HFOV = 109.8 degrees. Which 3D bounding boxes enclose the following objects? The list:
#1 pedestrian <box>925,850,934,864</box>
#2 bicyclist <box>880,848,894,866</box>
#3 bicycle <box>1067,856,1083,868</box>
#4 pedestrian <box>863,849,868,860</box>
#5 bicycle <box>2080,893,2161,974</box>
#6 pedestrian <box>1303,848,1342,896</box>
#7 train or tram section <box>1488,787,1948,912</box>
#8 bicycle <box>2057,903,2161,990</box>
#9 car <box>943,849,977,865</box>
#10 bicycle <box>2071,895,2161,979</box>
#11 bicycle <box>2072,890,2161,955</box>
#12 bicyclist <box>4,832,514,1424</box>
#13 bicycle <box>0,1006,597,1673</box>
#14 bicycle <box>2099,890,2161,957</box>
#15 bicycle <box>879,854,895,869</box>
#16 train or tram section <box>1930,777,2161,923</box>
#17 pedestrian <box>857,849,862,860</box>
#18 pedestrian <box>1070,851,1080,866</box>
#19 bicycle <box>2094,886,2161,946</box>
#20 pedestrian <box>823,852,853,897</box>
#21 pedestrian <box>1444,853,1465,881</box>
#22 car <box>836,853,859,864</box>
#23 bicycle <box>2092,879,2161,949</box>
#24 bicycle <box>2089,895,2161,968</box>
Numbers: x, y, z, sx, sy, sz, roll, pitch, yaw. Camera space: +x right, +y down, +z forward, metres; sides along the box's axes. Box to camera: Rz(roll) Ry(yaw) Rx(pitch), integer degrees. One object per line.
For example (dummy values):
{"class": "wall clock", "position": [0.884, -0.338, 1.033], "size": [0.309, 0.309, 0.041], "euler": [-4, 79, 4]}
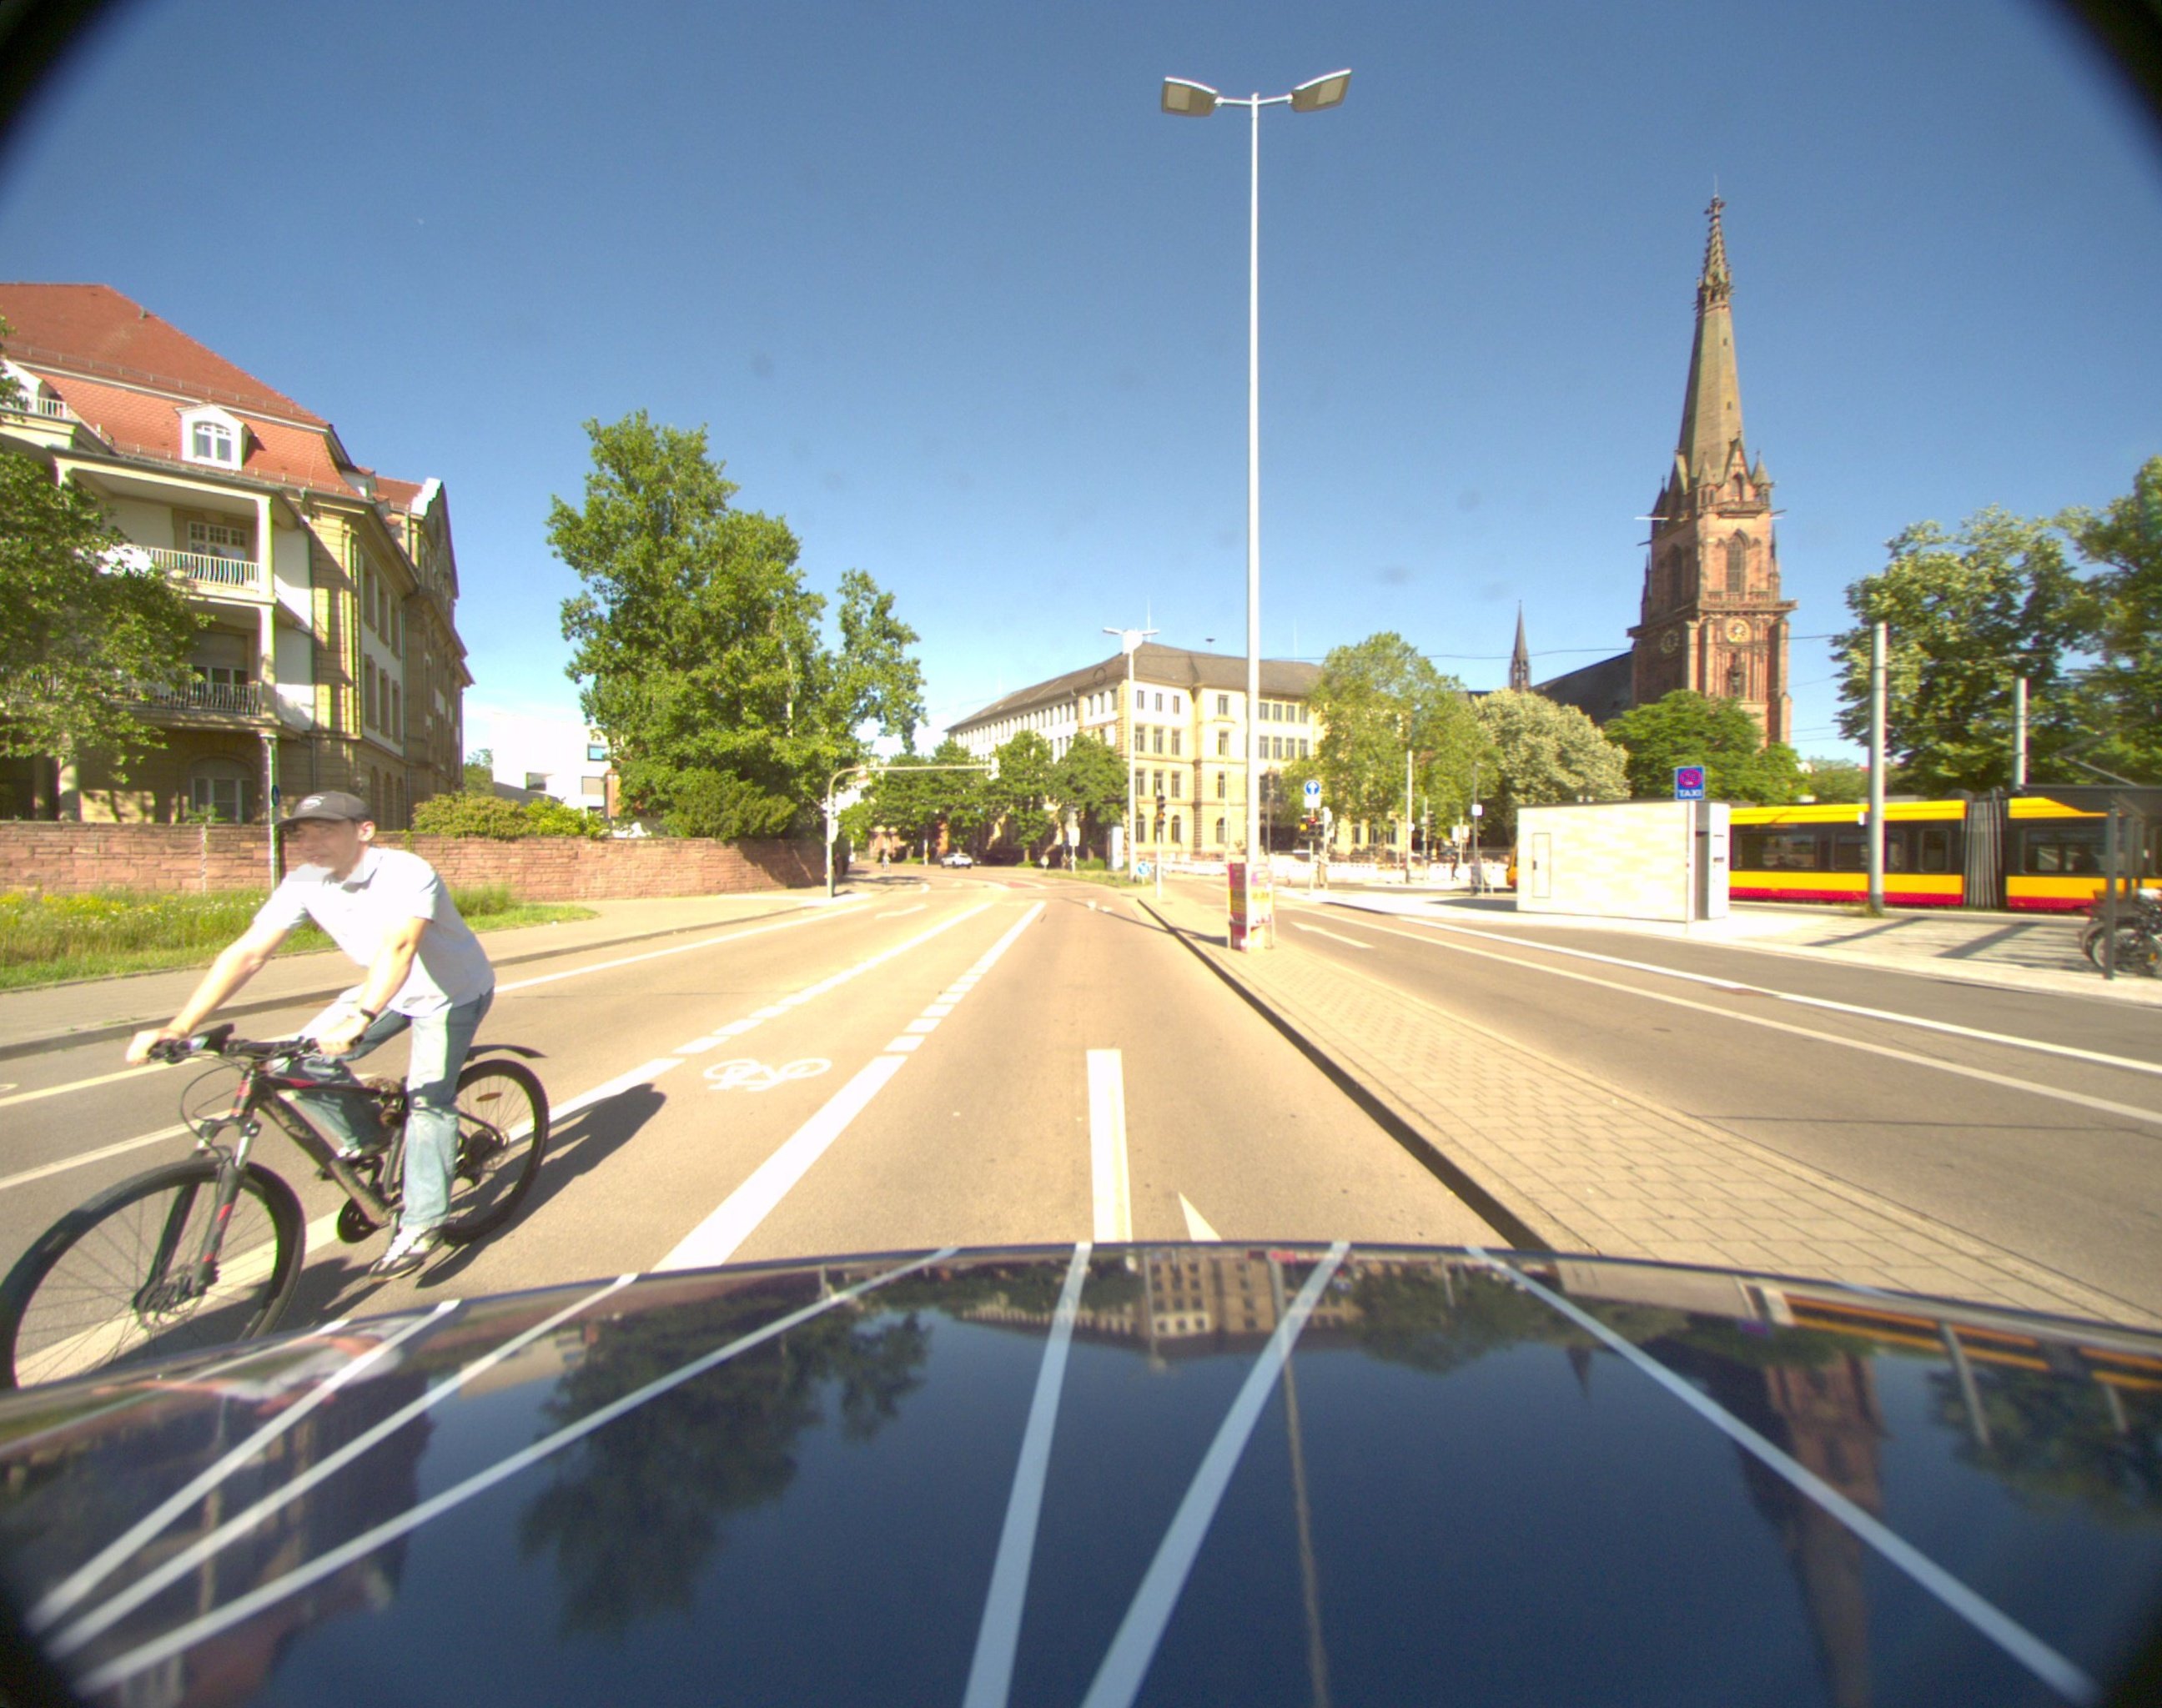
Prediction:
{"class": "pedestrian", "position": [-19.751, 0.390, 99.046], "size": [0.759, 1.802, 0.977], "euler": [-1, 1, -40]}
{"class": "bicyclist", "position": [-17.346, 0.252, 68.000], "size": [0.871, 1.551, 1.277], "euler": [-1, 1, -29]}
{"class": "bicycle", "position": [-0.568, 0.740, 70.220], "size": [0.602, 1.000, 1.983], "euler": [-3, 1, -27]}
{"class": "pedestrian", "position": [-35.298, 0.083, 124.246], "size": [0.758, 1.801, 0.979], "euler": [-2, -2, -16]}
{"class": "bicycle", "position": [15.146, 1.114, 10.340], "size": [0.574, 1.045, 1.826], "euler": [-1, 1, -32]}
{"class": "pedestrian", "position": [9.492, 0.689, 29.856], "size": [1.229, 1.845, 0.827], "euler": [0, 1, -5]}
{"class": "train or tram section", "position": [21.855, -0.167, 27.644], "size": [2.806, 3.580, 12.504], "euler": [-1, 1, -35]}
{"class": "bicycle", "position": [13.939, 1.204, 9.605], "size": [0.702, 1.002, 1.863], "euler": [-1, 2, -32]}
{"class": "car", "position": [-12.585, 0.335, 79.041], "size": [1.851, 1.543, 4.324], "euler": [1, 1, -33]}
{"class": "bicycle", "position": [14.676, 1.128, 10.075], "size": [0.630, 1.059, 1.826], "euler": [-1, 1, -32]}
{"class": "bicycle", "position": [17.818, 1.135, 12.473], "size": [0.630, 1.002, 1.826], "euler": [-1, 1, -32]}
{"class": "bicyclist", "position": [-2.621, 0.769, 2.564], "size": [0.742, 1.664, 0.865], "euler": [0, 1, -1]}
{"class": "bicycle", "position": [-2.618, 1.236, 2.574], "size": [0.749, 1.044, 1.903], "euler": [0, 1, -1]}
{"class": "bicycle", "position": [17.170, 1.097, 11.637], "size": [0.630, 1.002, 1.826], "euler": [-1, 1, -32]}
{"class": "bicycle", "position": [-17.403, 0.645, 68.105], "size": [0.763, 1.360, 2.731], "euler": [-1, 1, -28]}
{"class": "train or tram section", "position": [28.912, -0.100, 17.426], "size": [2.806, 3.580, 12.294], "euler": [-1, 1, -35]}
{"class": "pedestrian", "position": [-36.011, 0.103, 123.539], "size": [0.758, 1.801, 0.979], "euler": [-2, -2, -16]}
{"class": "pedestrian", "position": [-0.542, 0.413, 70.146], "size": [0.597, 1.394, 0.644], "euler": [-3, 1, -28]}
{"class": "bicycle", "position": [19.531, 1.122, 13.470], "size": [0.630, 1.002, 1.826], "euler": [-1, 1, -32]}
{"class": "pedestrian", "position": [-10.294, 0.854, 32.158], "size": [0.960, 1.839, 0.731], "euler": [1, 1, 5]}
{"class": "pedestrian", "position": [23.240, 0.801, 47.287], "size": [0.807, 1.731, 0.933], "euler": [-1, 1, -35]}
{"class": "car", "position": [-33.042, 0.623, 107.480], "size": [1.853, 1.477, 4.154], "euler": [-1, 1, -35]}
{"class": "bicycle", "position": [18.952, 1.046, 13.062], "size": [0.630, 1.173, 1.826], "euler": [-1, 1, -32]}
{"class": "bicycle", "position": [16.183, 1.159, 11.013], "size": [0.630, 1.002, 1.826], "euler": [-1, 1, -32]}
